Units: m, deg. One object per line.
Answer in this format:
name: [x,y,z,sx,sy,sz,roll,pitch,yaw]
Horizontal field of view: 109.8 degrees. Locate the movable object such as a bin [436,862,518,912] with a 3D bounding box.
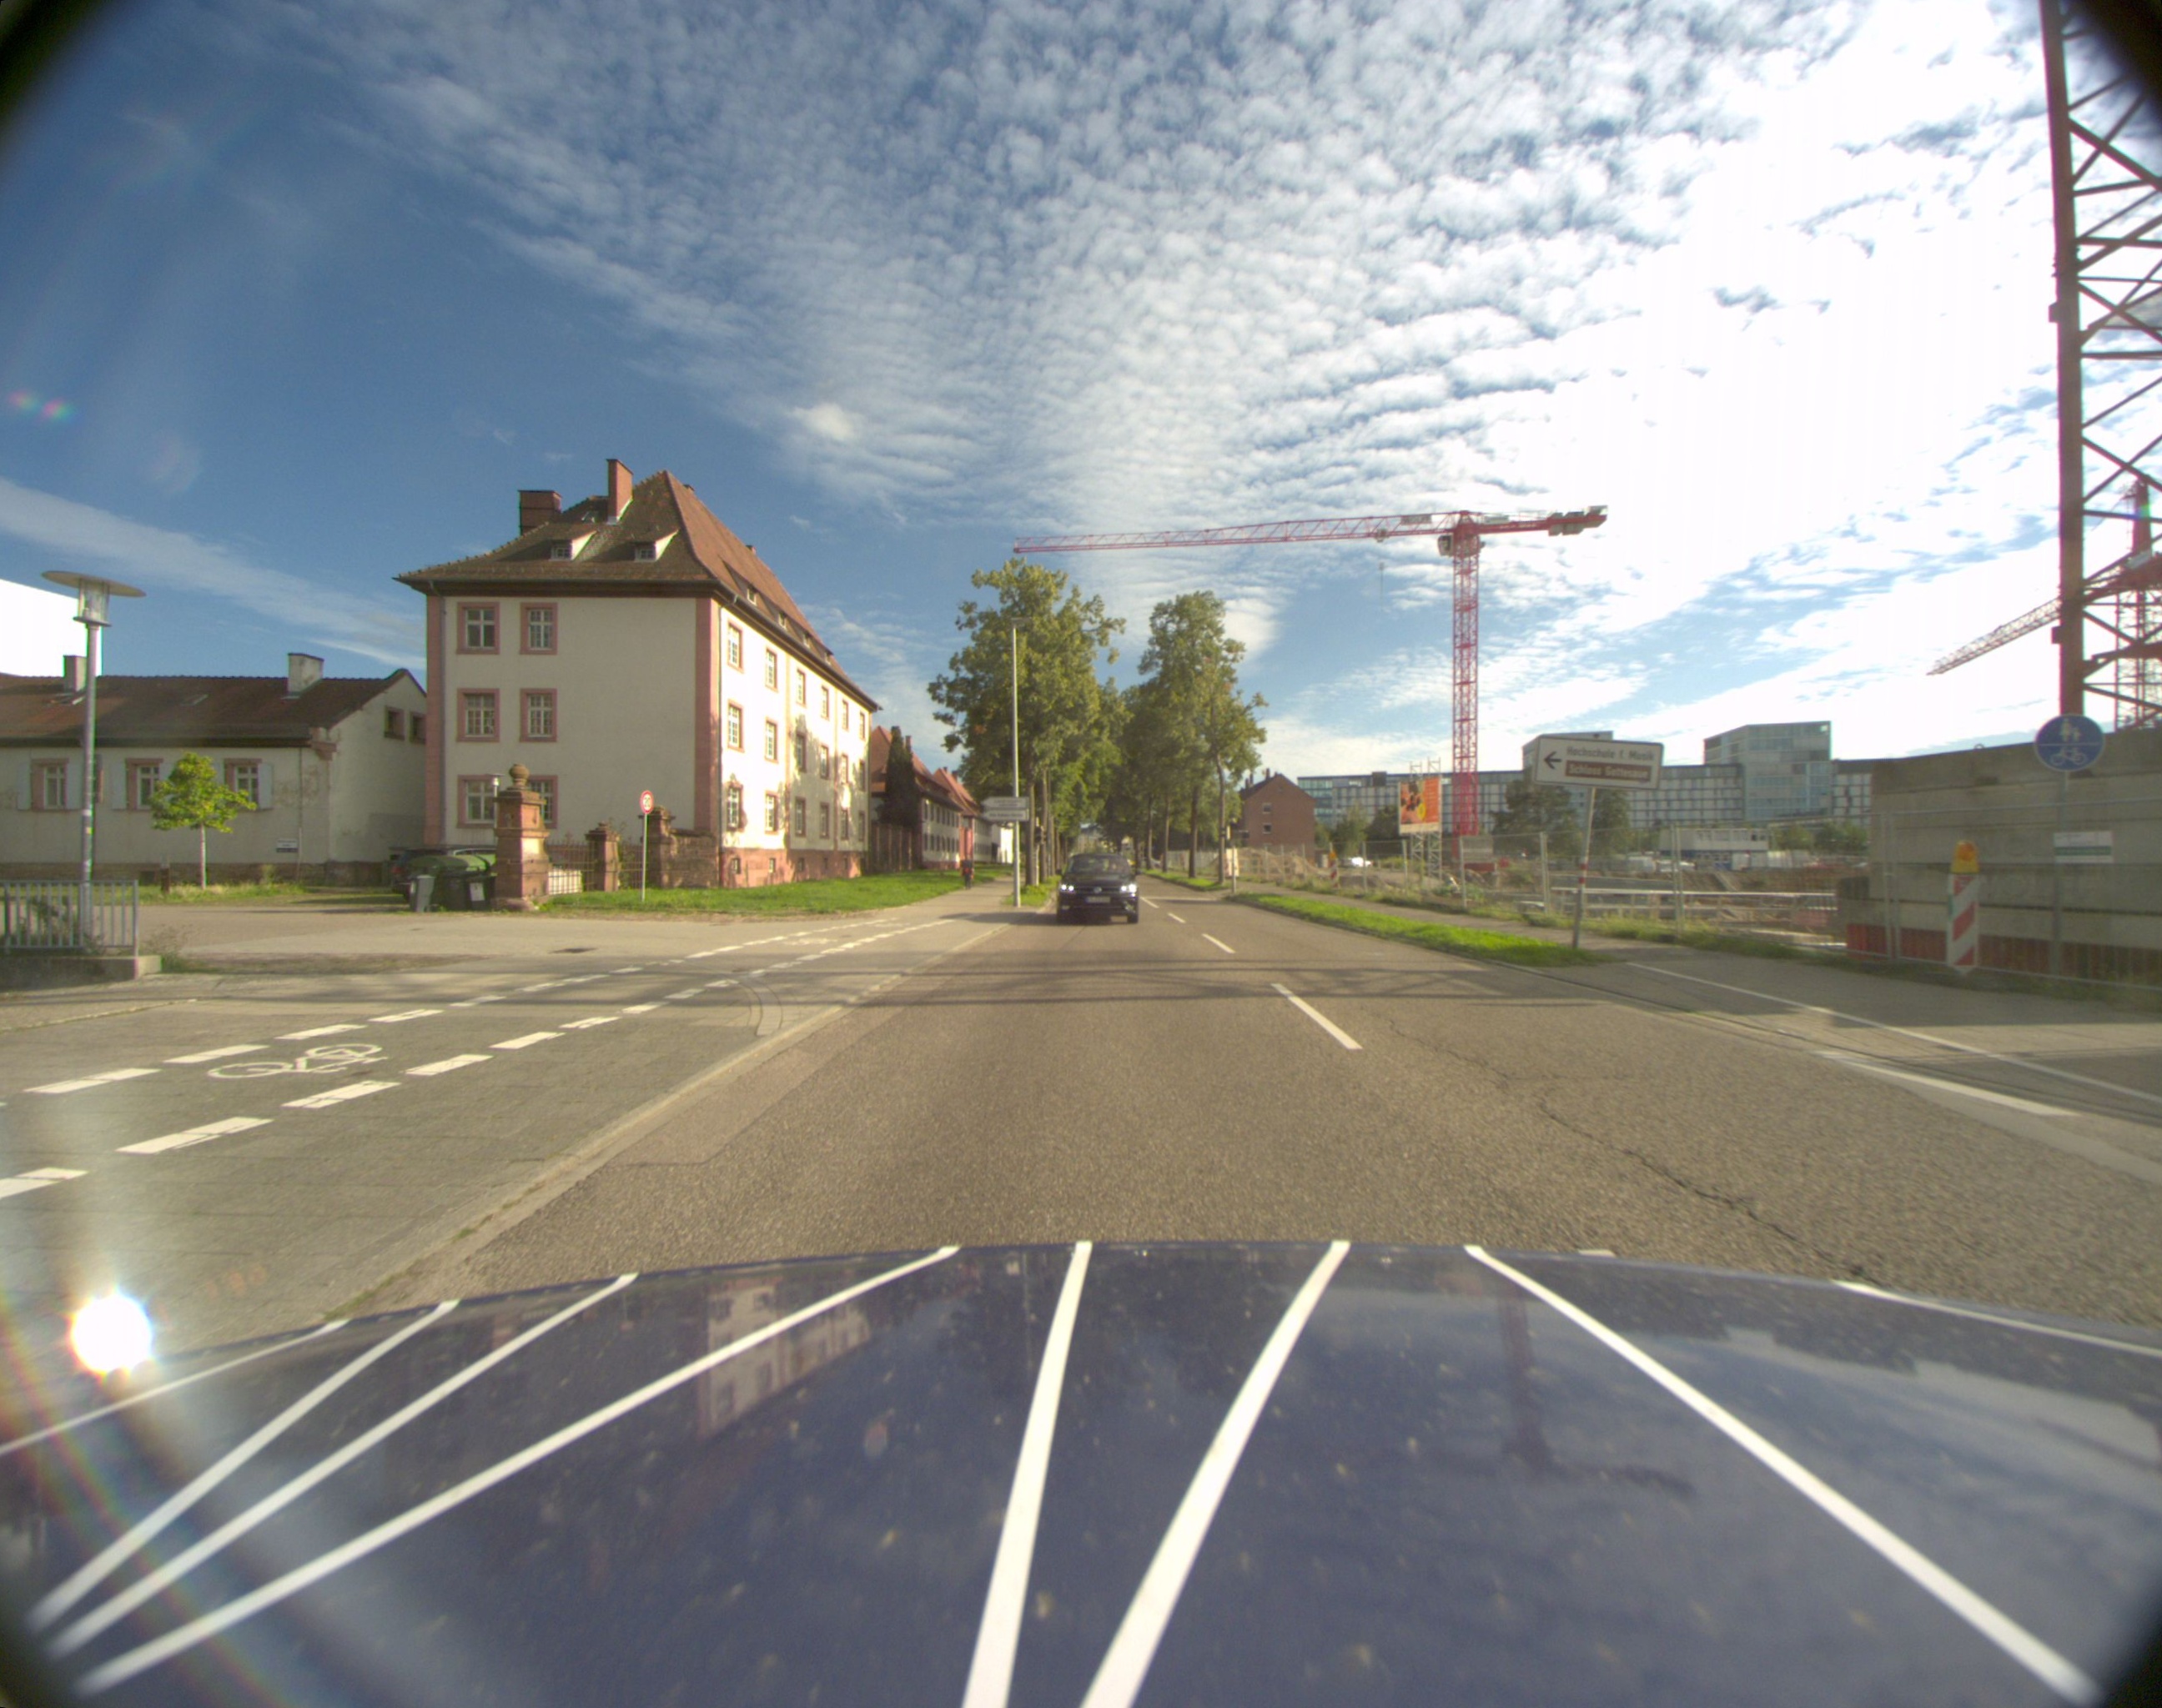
movable object such as a bin: [-15.240,0.818,19.222,1.194,1.224,1.093,0,0,-4]

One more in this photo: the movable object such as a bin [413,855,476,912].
movable object such as a bin: [-16.401,0.736,19.595,0.832,1.415,0.942,0,1,-4]

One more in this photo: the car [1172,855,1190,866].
car: [14.014,0.846,106.359,1.998,1.420,4.507,1,1,2]

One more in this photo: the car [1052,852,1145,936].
car: [0.399,0.828,17.410,1.821,1.648,4.243,-1,0,1]

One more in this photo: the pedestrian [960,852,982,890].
pedestrian: [-4.759,0.719,32.954,0.816,1.581,0.769,2,1,-1]

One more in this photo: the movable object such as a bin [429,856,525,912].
movable object such as a bin: [-16.500,0.793,20.814,1.417,1.451,1.543,0,0,-4]

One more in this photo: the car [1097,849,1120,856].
car: [7.471,-0.367,207.025,2.483,1.856,6.234,-2,1,-44]

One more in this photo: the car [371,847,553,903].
car: [-19.502,0.608,24.261,1.998,1.598,4.506,1,0,2]
